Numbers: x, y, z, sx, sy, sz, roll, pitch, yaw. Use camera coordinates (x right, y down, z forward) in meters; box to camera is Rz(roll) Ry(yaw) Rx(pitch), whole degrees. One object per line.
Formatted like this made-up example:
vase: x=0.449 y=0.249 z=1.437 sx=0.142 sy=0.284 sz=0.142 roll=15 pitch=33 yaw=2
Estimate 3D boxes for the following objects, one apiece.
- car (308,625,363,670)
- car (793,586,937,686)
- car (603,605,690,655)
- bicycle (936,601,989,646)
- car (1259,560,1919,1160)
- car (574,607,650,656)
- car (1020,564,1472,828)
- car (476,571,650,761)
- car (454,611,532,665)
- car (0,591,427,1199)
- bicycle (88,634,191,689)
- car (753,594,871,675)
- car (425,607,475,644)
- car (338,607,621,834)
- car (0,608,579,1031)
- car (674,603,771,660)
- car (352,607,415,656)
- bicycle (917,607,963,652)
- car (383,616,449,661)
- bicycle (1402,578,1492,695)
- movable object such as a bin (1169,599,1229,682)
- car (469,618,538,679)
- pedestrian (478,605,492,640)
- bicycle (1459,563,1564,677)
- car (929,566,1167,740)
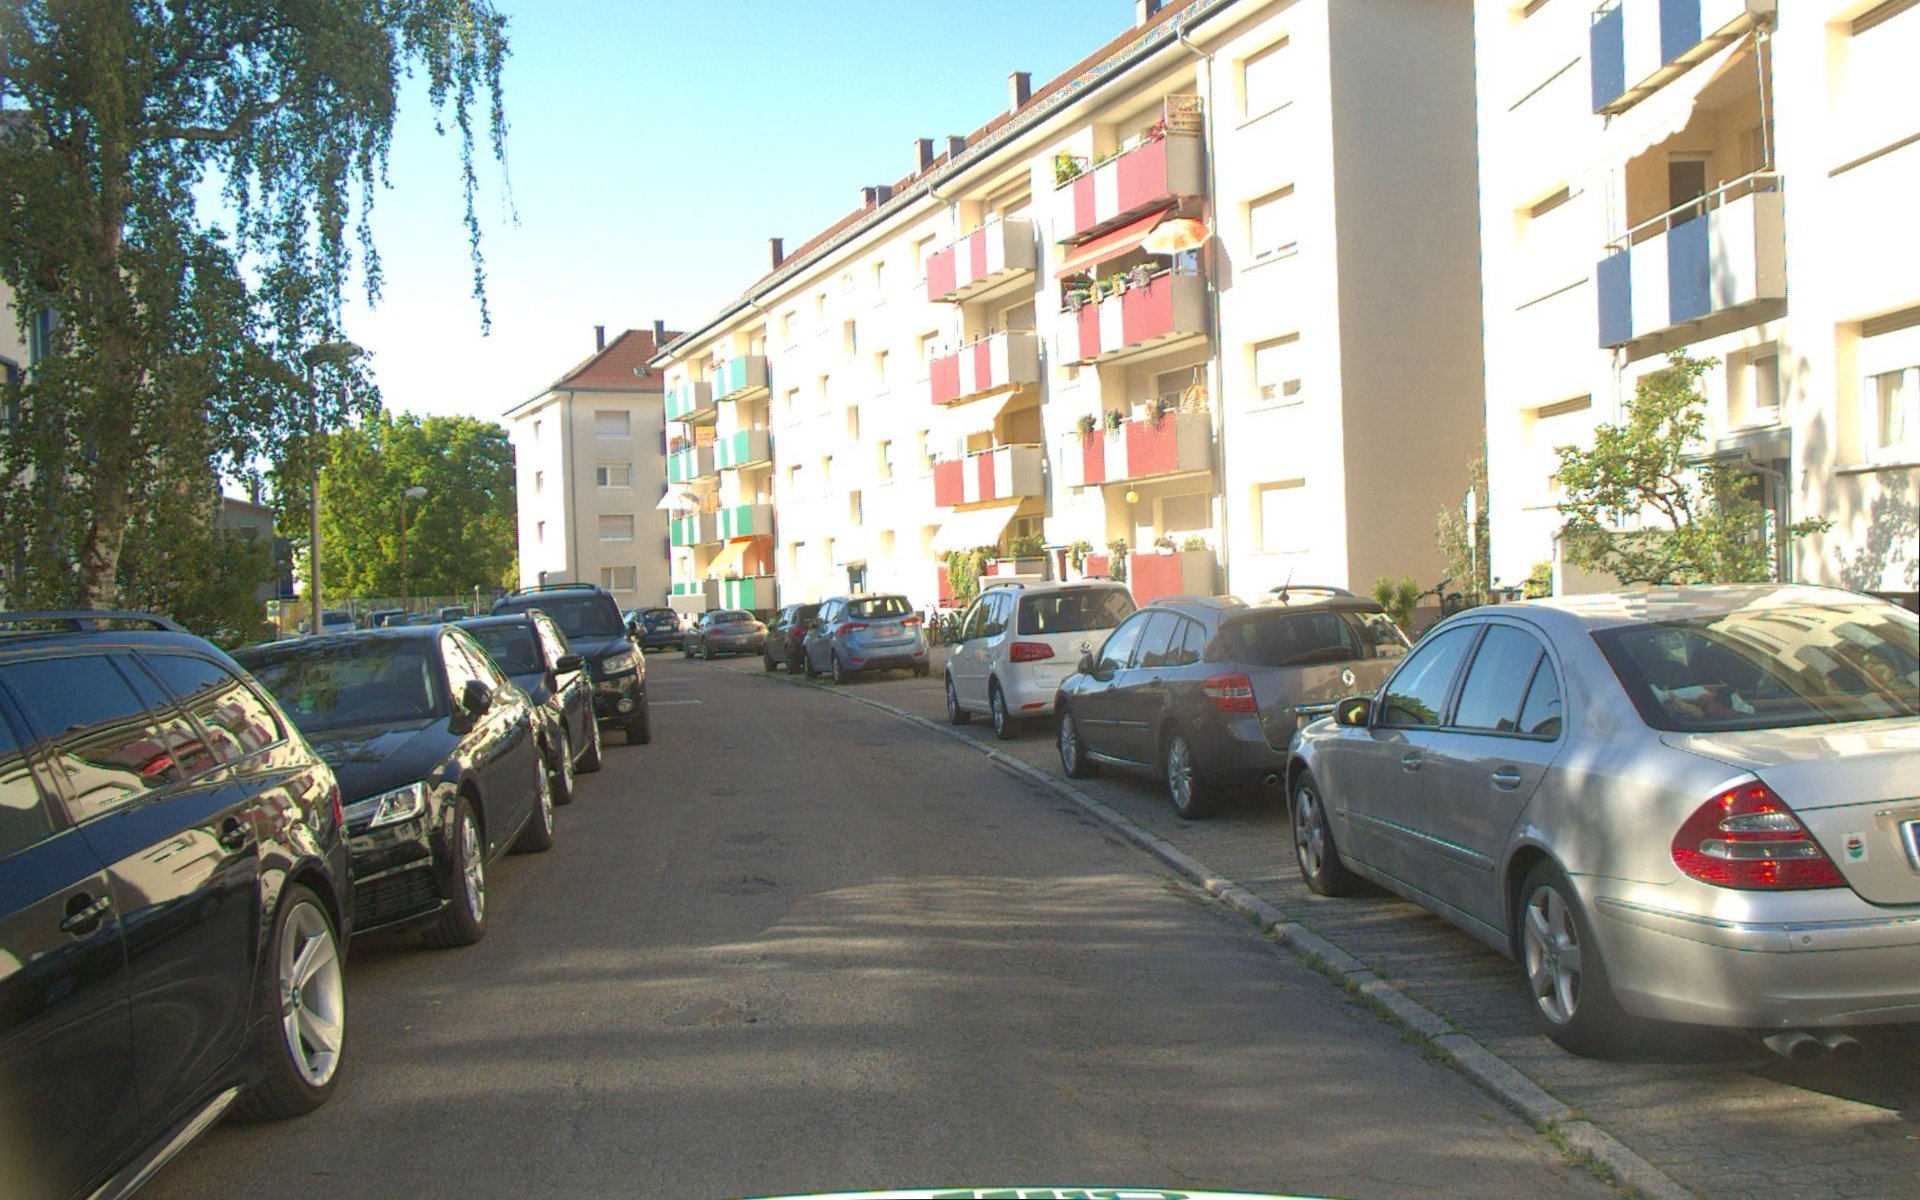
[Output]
car: x=-31.485 y=2.393 z=83.350 sx=1.971 sy=2.048 sz=4.413 roll=-4 pitch=0 yaw=-28
car: x=-1.891 y=0.625 z=31.672 sx=1.738 sy=1.663 sz=4.021 roll=-4 pitch=2 yaw=-17
car: x=-10.473 y=1.016 z=55.047 sx=1.717 sy=1.456 sz=4.320 roll=-4 pitch=0 yaw=-26
bicycle: x=0.049 y=0.568 z=40.907 sx=0.608 sy=0.995 sz=1.885 roll=-5 pitch=3 yaw=-20
car: x=2.627 y=0.628 z=6.587 sx=1.645 sy=1.472 sz=4.720 roll=-3 pitch=0 yaw=-4
car: x=-12.509 y=1.126 z=59.298 sx=1.662 sy=1.615 sz=3.977 roll=-3 pitch=0 yaw=-27
car: x=1.878 y=0.618 z=12.530 sx=1.665 sy=1.456 sz=4.673 roll=-6 pitch=0 yaw=-12
car: x=-4.344 y=0.669 z=18.605 sx=1.528 sy=1.743 sz=4.326 roll=-5 pitch=0 yaw=-10
car: x=-14.548 y=1.183 z=51.379 sx=1.720 sy=1.456 sz=4.566 roll=-5 pitch=1 yaw=-23
car: x=-2.573 y=0.798 z=3.299 sx=1.645 sy=1.477 sz=4.617 roll=-5 pitch=0 yaw=-3
bicycle: x=-16.845 y=1.260 z=33.980 sx=1.787 sy=1.097 sz=0.567 roll=0 pitch=0 yaw=-9
car: x=-3.322 y=0.733 z=36.542 sx=1.709 sy=1.534 sz=3.866 roll=-5 pitch=1 yaw=-18
car: x=-26.994 y=1.366 z=87.455 sx=1.745 sy=1.769 sz=4.057 roll=-4 pitch=0 yaw=-27
car: x=-3.822 y=0.864 z=13.755 sx=1.526 sy=1.467 sz=3.961 roll=-5 pitch=0 yaw=-7
car: x=-3.104 y=0.854 z=8.559 sx=1.647 sy=1.467 sz=4.273 roll=-5 pitch=0 yaw=-7
car: x=-6.719 y=0.880 z=46.447 sx=1.663 sy=1.386 sz=4.211 roll=-5 pitch=1 yaw=-22
car: x=-24.387 y=1.342 z=69.874 sx=1.875 sy=1.888 sz=4.156 roll=-3 pitch=-1 yaw=-28
bicycle: x=-0.495 y=0.729 z=40.730 sx=0.490 sy=1.037 sz=1.830 roll=-4 pitch=0 yaw=-20
car: x=-20.002 y=1.412 z=60.713 sx=1.640 sy=1.468 sz=3.835 roll=-4 pitch=0 yaw=-28
bicycle: x=5.473 y=0.386 z=18.660 sx=0.504 sy=1.223 sz=1.762 roll=-4 pitch=0 yaw=3
movable object such as a bin: x=3.288 y=0.553 z=22.776 sx=0.573 sy=1.074 sz=0.640 roll=-5 pitch=-1 yaw=-7
car: x=-12.810 y=1.339 z=46.319 sx=1.458 sy=1.502 sz=3.609 roll=-6 pitch=1 yaw=-20
pedestrian: x=-25.816 y=1.215 z=89.894 sx=0.644 sy=1.847 sz=0.611 roll=-4 pitch=0 yaw=-18
bicycle: x=6.371 y=0.214 z=19.194 sx=0.504 sy=1.223 sz=1.833 roll=-4 pitch=0 yaw=-1
car: x=0.886 y=0.556 z=19.358 sx=1.664 sy=1.684 sz=4.378 roll=-4 pitch=0 yaw=-11
